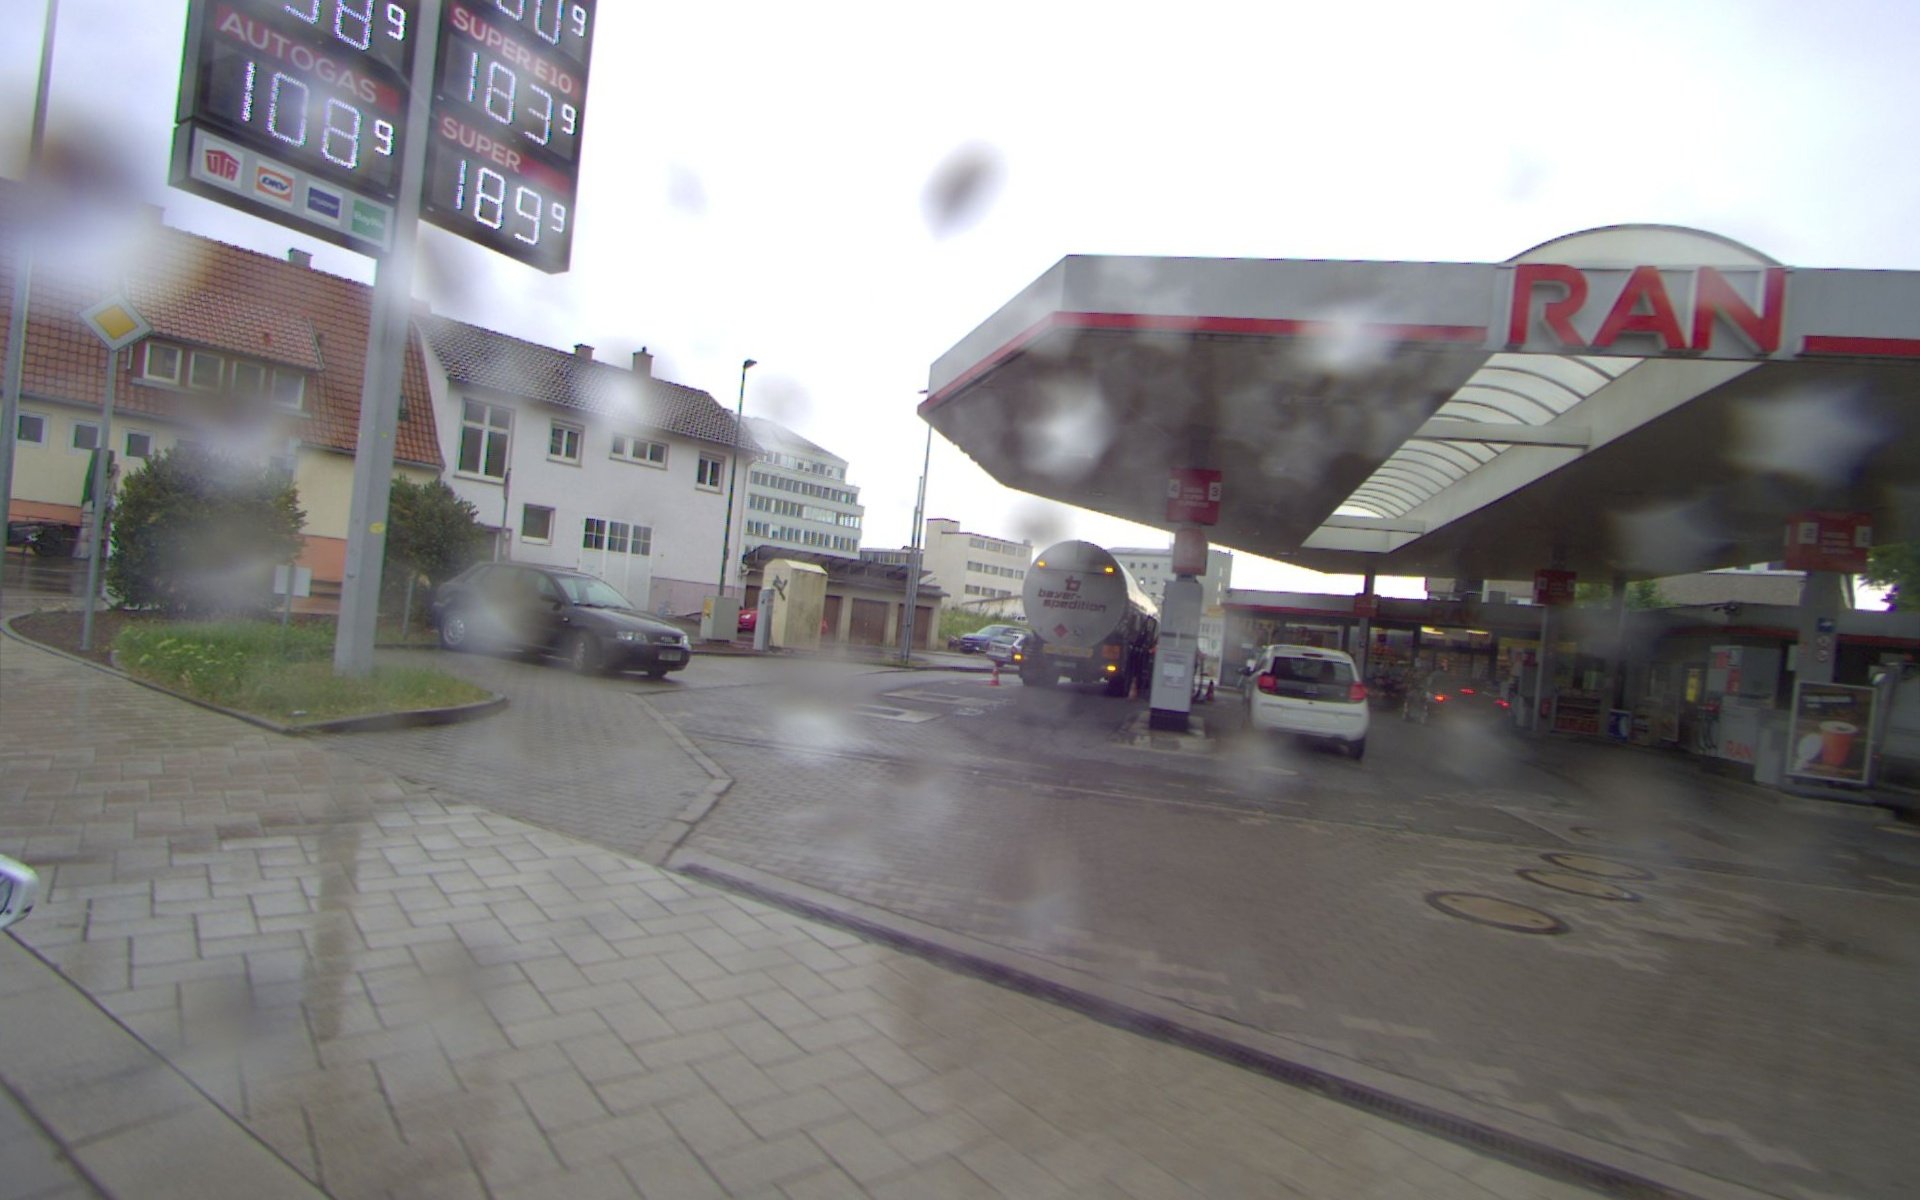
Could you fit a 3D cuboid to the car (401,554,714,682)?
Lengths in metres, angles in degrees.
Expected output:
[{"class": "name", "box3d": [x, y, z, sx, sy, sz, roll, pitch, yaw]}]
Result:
[{"class": "car", "box3d": [-6.013, 0.262, 15.028, 4.260, 1.356, 1.694, 6, -1, 22]}]

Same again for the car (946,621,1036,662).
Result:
[{"class": "car", "box3d": [1.572, 2.070, 49.958, 4.171, 1.527, 1.974, 8, 0, -45]}]

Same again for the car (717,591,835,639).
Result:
[{"class": "car", "box3d": [-7.235, 0.617, 39.836, 1.972, 1.393, 4.240, 7, 0, 40]}]

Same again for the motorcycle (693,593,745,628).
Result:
[{"class": "motorcycle", "box3d": [-9.421, 0.438, 39.436, 0.482, 1.164, 2.033, 6, -2, 37]}]

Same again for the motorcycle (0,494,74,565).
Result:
[{"class": "motorcycle", "box3d": [-22.227, -1.706, 23.600, 0.483, 1.474, 2.029, 6, -1, 43]}]

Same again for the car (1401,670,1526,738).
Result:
[{"class": "car", "box3d": [12.149, 2.466, 24.555, 1.709, 1.227, 4.002, 5, -1, 13]}]

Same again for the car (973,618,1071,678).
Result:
[{"class": "car", "box3d": [2.573, 1.968, 40.724, 1.969, 2.038, 3.988, 6, -1, 36]}]

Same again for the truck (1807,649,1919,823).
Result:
[{"class": "truck", "box3d": [13.529, 1.900, 12.864, 2.048, 2.235, 7.290, 9, 2, 26]}]

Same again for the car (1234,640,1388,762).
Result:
[{"class": "car", "box3d": [5.311, 1.471, 15.687, 1.742, 1.444, 4.003, 7, -1, 14]}]

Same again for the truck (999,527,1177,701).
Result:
[{"class": "truck", "box3d": [4.220, 0.730, 28.627, 2.597, 3.398, 14.428, 9, -1, 15]}]
